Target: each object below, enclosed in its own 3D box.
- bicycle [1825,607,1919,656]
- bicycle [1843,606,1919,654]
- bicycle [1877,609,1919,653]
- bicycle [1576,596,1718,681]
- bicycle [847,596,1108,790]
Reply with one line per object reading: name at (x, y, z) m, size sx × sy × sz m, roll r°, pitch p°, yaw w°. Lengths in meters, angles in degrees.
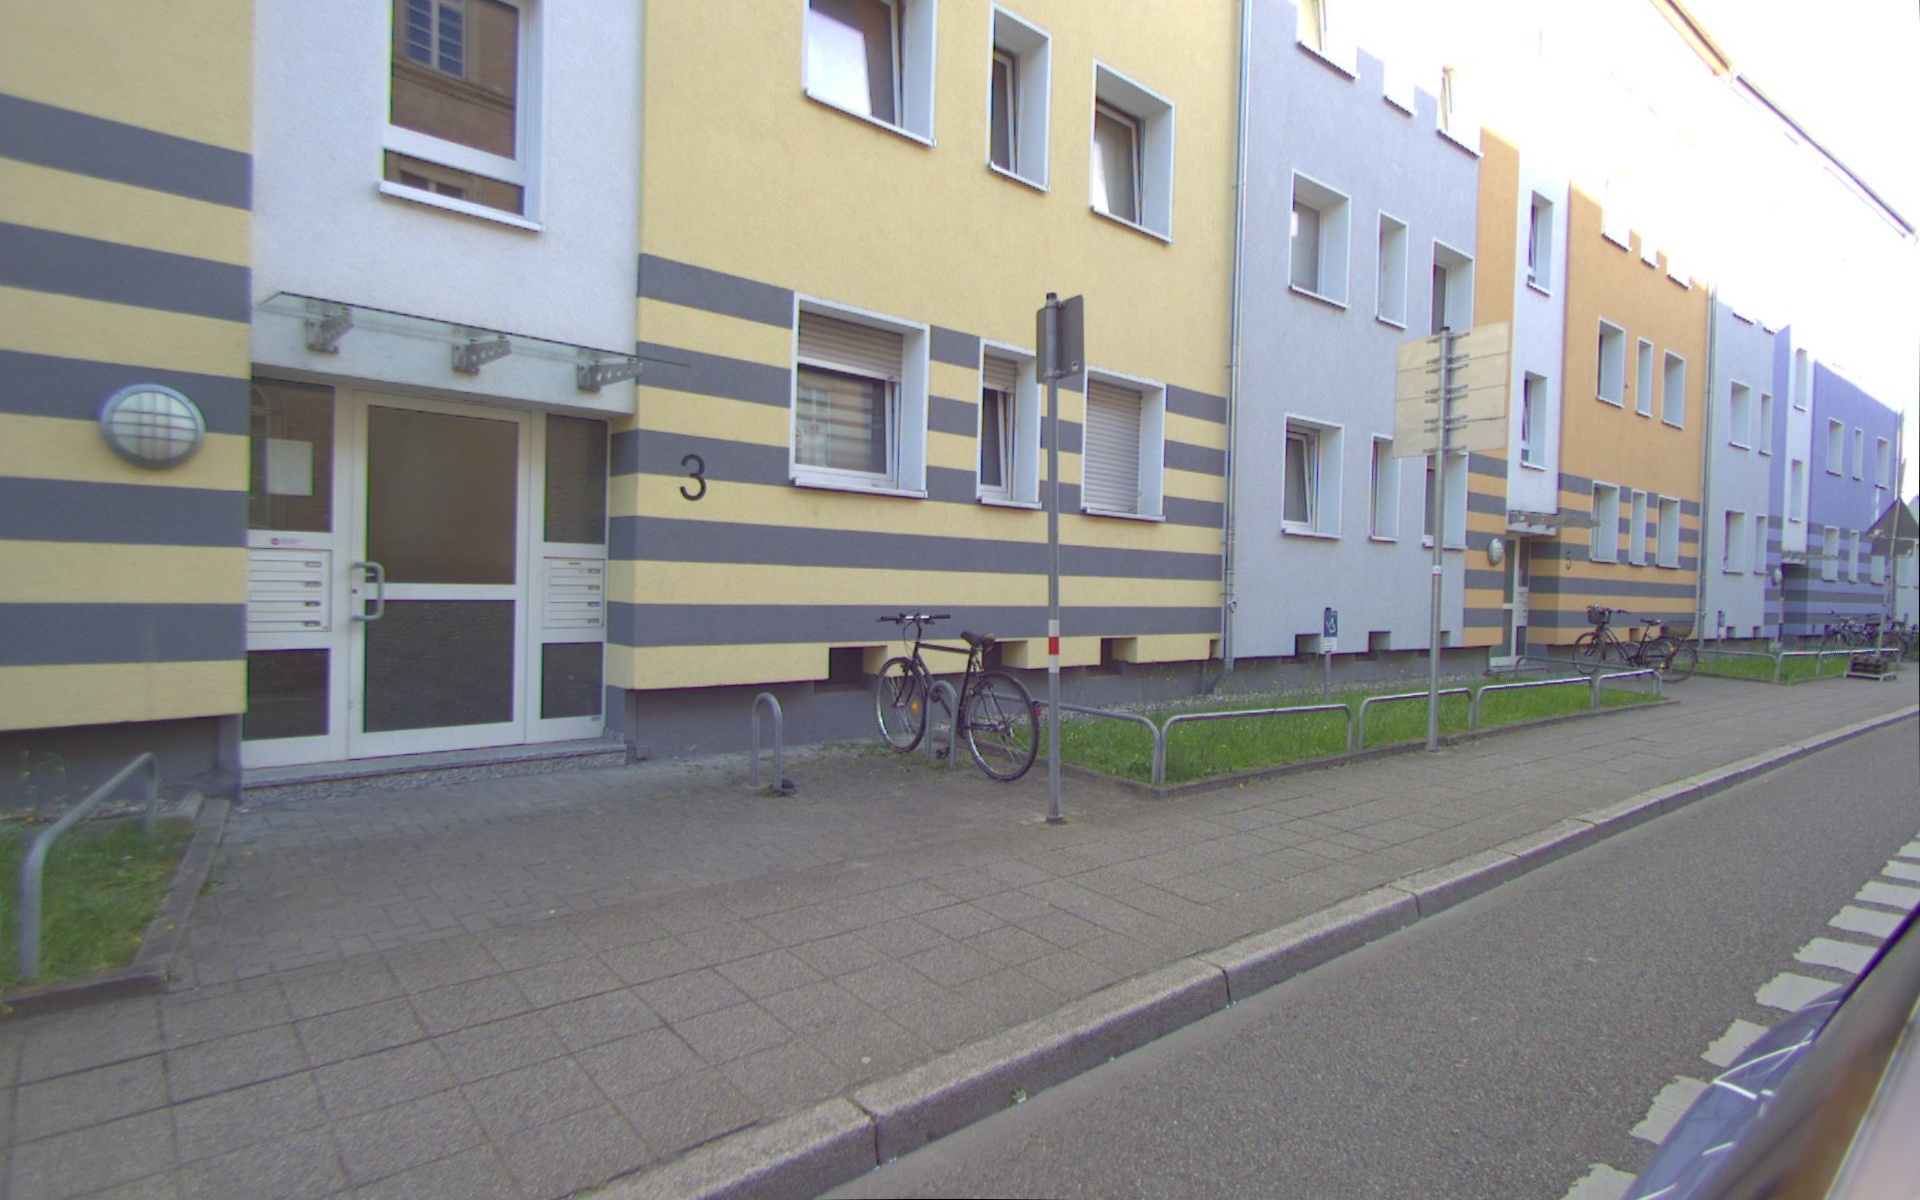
bicycle at (22.289, 0.740, 24.677) m, size 0.624 × 1.058 × 1.711 m, roll 1°, pitch 2°, yaw -39°
bicycle at (23.257, 0.739, 25.273) m, size 0.625 × 1.095 × 1.711 m, roll 1°, pitch 3°, yaw -40°
bicycle at (24.176, 0.801, 25.347) m, size 0.625 × 1.048 × 1.709 m, roll 1°, pitch 3°, yaw -42°
bicycle at (10.748, 0.569, 15.874) m, size 0.625 × 1.173 × 1.709 m, roll 1°, pitch 3°, yaw -42°
bicycle at (0.053, 0.560, 7.055) m, size 0.625 × 1.074 × 1.946 m, roll 1°, pitch 3°, yaw -42°
